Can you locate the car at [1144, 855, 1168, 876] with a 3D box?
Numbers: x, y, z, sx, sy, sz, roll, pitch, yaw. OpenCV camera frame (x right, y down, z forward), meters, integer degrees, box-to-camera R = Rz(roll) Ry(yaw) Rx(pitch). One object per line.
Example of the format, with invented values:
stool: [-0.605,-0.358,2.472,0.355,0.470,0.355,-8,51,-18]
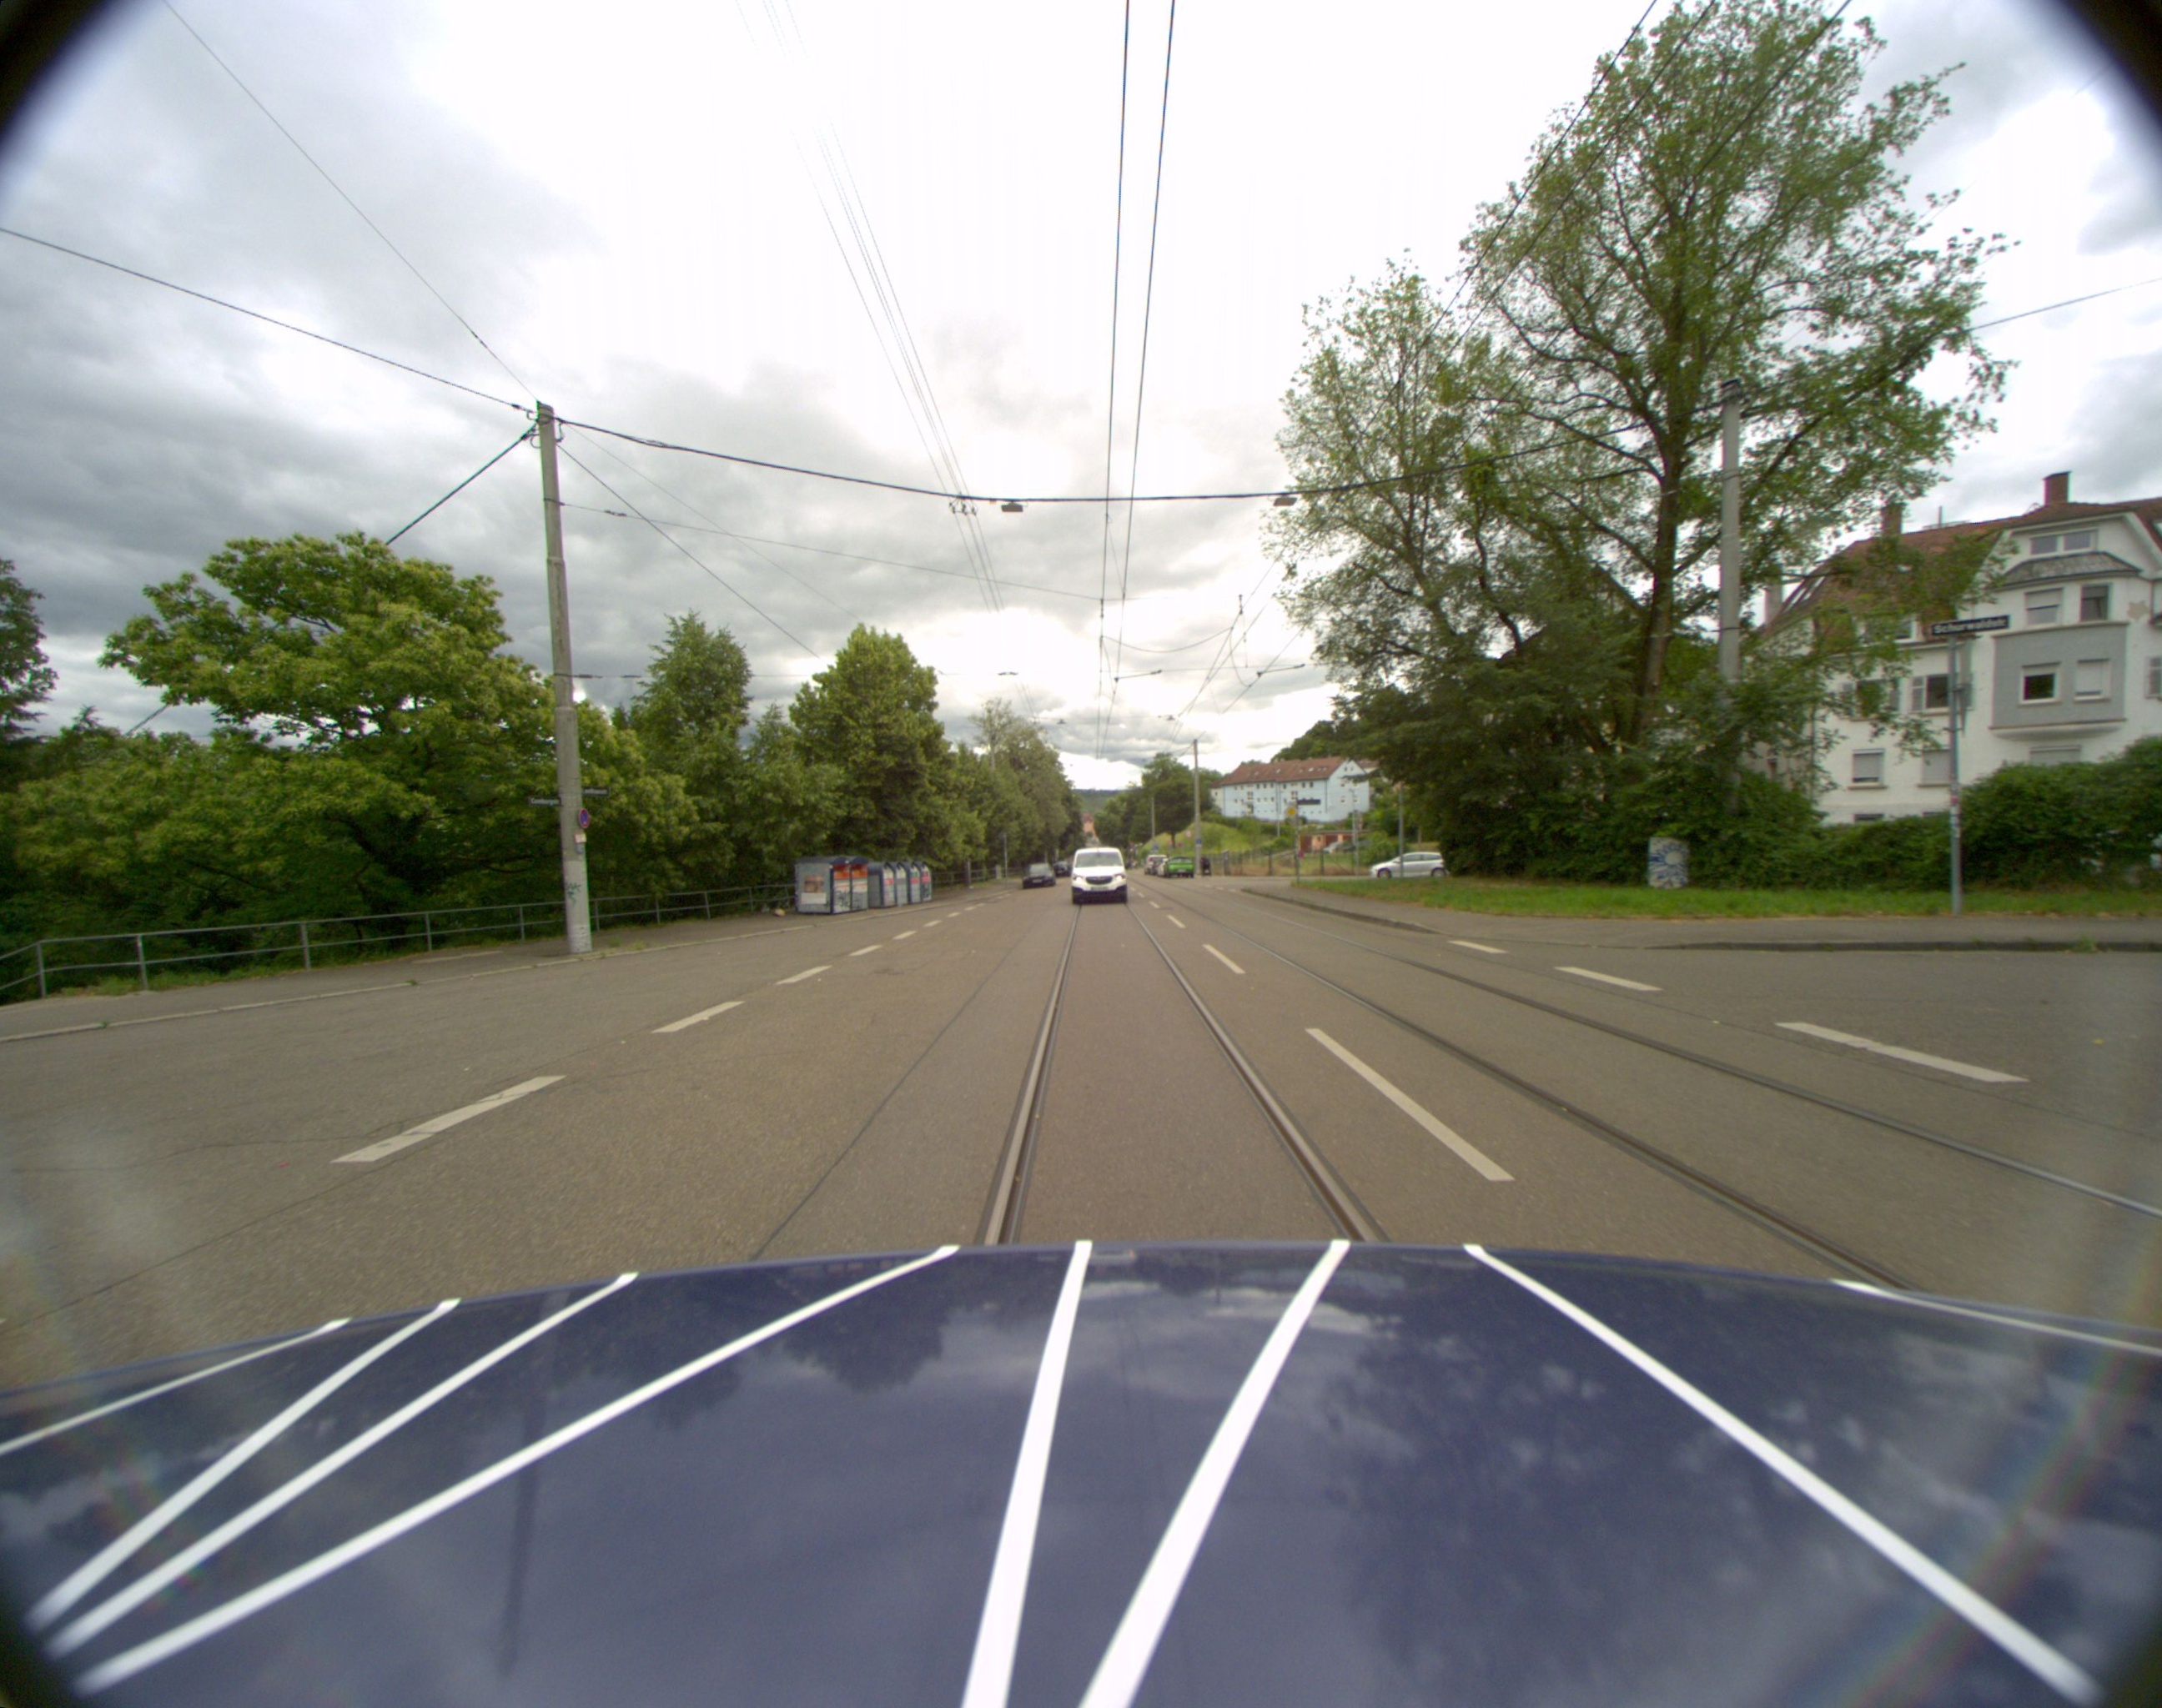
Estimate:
car: [7.073,1.072,71.931,1.901,1.935,4.291,0,0,1]

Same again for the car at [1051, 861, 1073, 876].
car: [-1.855,1.476,75.970,1.822,1.344,3.941,-4,-1,3]

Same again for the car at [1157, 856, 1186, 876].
car: [6.892,0.917,58.268,1.856,1.485,3.948,0,0,1]

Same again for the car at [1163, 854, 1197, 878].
car: [6.771,0.829,52.524,1.856,1.531,3.948,-2,0,1]

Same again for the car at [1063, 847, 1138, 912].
car: [0.534,0.750,24.470,1.760,1.824,4.445,-2,0,-6]

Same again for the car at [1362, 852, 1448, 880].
car: [16.849,0.609,39.544,4.004,1.369,1.698,-1,0,25]

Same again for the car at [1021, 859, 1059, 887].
car: [-2.432,1.109,45.878,1.863,1.434,4.388,-5,0,1]

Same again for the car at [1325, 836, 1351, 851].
car: [35.019,-1.463,103.513,1.994,1.892,4.008,-2,0,40]

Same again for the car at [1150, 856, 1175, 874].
car: [7.110,0.965,66.868,1.856,1.485,3.948,0,0,1]
